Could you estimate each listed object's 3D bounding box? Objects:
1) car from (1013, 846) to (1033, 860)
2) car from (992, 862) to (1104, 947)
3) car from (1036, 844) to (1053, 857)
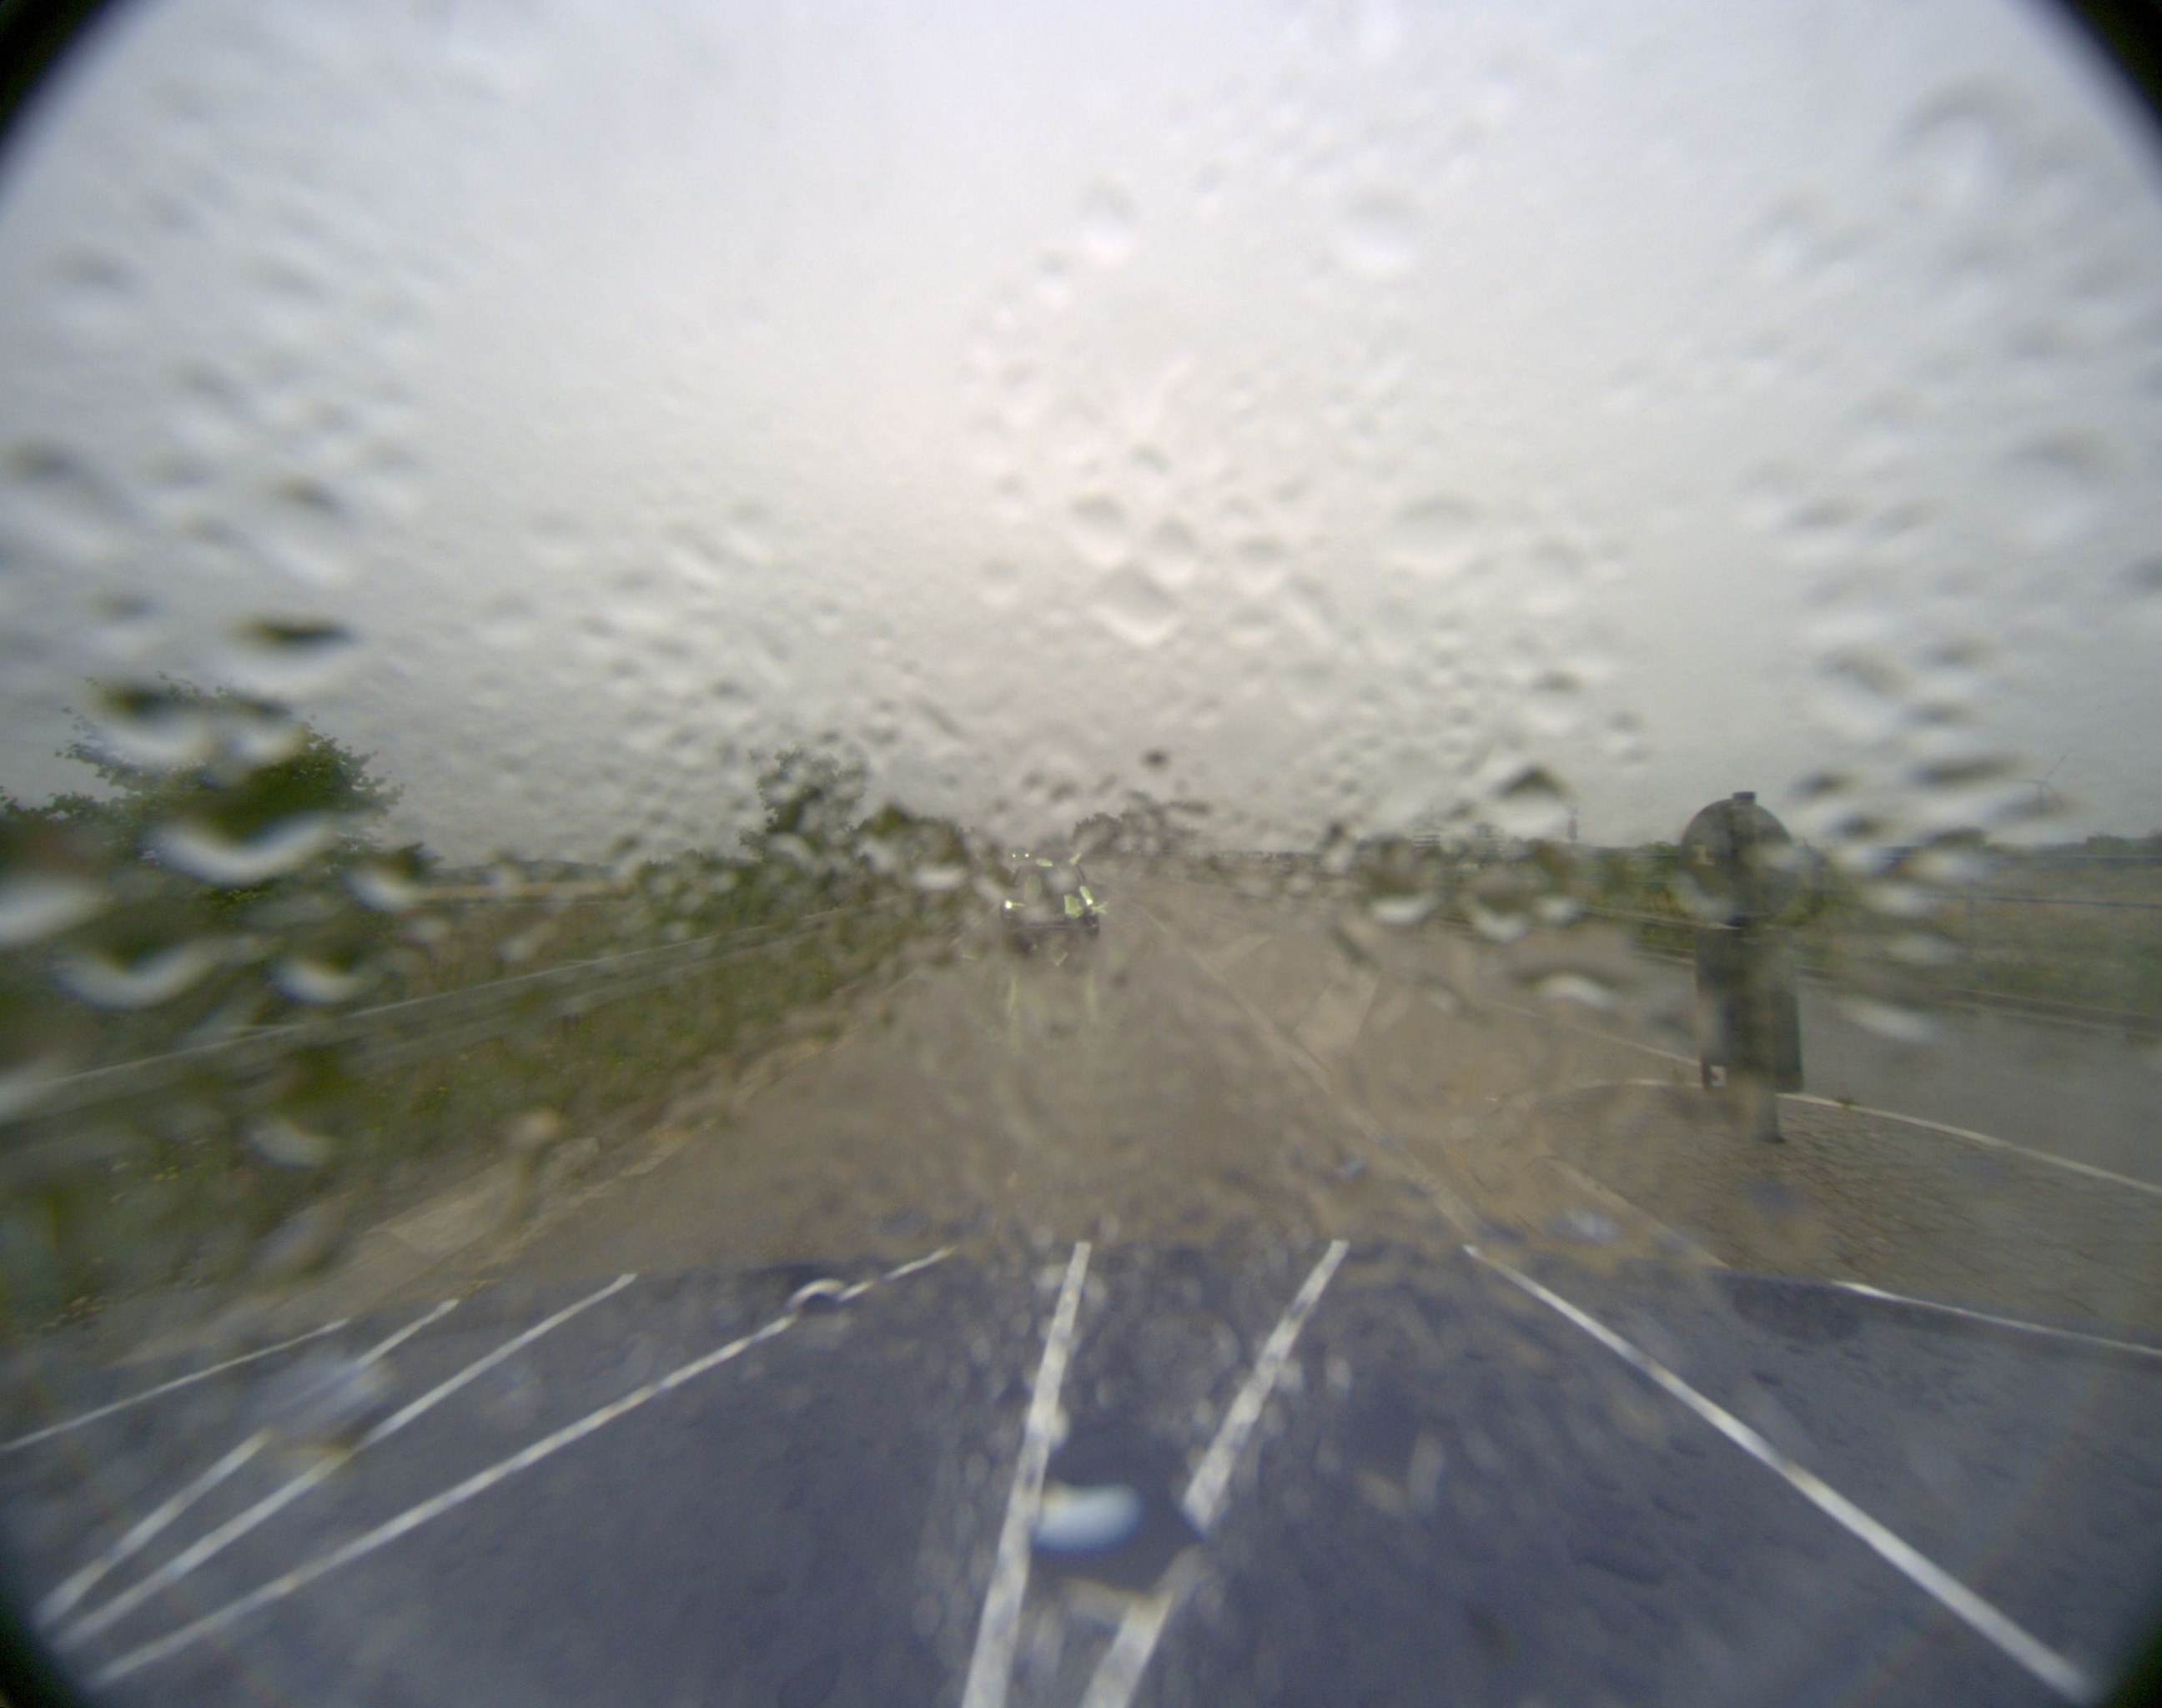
[{"bbox_3d":[-5.794,-0.144,75.711,1.910,1.361,4.562,-1,1,-5],"label":"car"},{"bbox_3d":[-0.647,0.901,15.472,1.909,1.361,4.564,-1,1,-2],"label":"car"},{"bbox_3d":[-4.409,-0.457,90.703,1.786,1.517,4.165,0,1,-7],"label":"car"}]
